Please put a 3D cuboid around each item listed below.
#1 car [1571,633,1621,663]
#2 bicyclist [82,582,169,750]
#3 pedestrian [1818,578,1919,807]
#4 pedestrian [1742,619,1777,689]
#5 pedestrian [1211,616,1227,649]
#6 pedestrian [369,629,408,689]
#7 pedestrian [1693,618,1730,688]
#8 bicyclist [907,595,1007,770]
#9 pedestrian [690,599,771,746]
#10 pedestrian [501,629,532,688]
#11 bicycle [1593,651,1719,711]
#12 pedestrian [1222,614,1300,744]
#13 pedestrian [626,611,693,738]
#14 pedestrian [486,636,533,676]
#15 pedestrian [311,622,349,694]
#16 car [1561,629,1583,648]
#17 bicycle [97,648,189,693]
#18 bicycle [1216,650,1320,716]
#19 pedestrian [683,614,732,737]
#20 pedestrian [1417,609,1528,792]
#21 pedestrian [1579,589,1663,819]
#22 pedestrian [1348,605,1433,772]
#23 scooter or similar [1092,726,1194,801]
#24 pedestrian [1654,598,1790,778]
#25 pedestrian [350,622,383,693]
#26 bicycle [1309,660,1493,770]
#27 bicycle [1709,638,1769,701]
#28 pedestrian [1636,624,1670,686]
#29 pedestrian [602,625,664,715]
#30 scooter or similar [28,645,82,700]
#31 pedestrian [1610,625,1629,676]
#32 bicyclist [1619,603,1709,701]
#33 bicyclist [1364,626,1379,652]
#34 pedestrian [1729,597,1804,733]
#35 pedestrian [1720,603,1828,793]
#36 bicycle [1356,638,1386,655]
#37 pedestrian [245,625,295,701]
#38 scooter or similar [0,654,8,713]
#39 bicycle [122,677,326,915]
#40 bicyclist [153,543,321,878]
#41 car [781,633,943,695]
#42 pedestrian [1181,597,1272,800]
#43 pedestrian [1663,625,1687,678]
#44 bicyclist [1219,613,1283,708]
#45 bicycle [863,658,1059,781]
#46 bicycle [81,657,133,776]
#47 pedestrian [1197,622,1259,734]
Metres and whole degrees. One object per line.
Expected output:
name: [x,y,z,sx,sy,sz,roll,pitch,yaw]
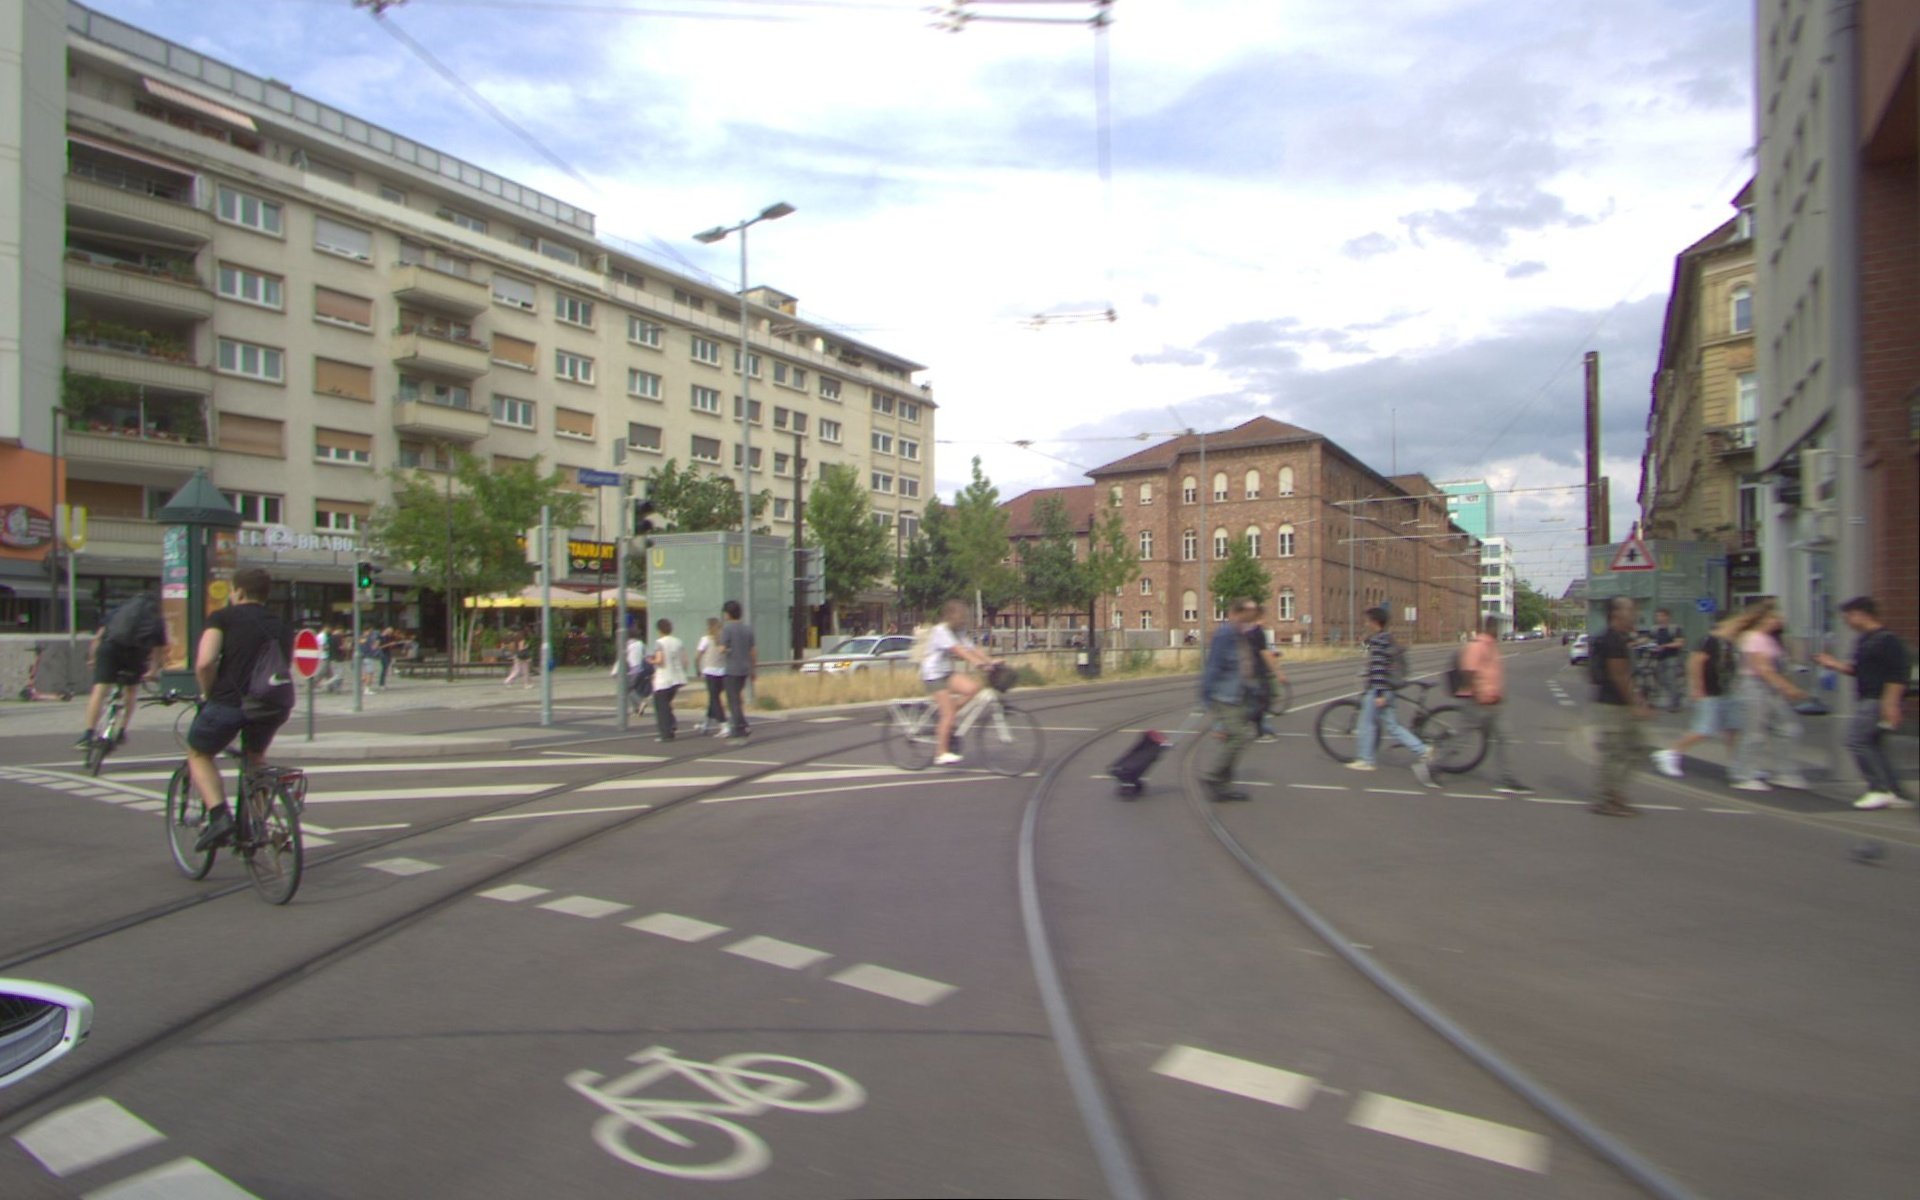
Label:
car: [28.971,2.150,45.637,1.812,1.282,4.132,-2,-2,33]
bicyclist: [-9.083,0.701,10.906,0.692,1.731,0.900,1,-2,-40]
pedestrian: [7.756,0.759,8.458,0.686,1.847,0.566,-1,-1,33]
pedestrian: [20.123,1.351,25.197,0.513,1.744,0.538,0,-2,-36]
pedestrian: [16.273,2.065,62.871,0.749,2.039,0.904,-1,-1,30]
pedestrian: [-15.522,1.585,27.215,0.409,1.596,0.816,-1,-2,35]
pedestrian: [19.147,1.346,25.525,0.513,1.744,0.588,0,-2,-36]
bicyclist: [-0.027,0.839,10.416,0.848,1.731,0.641,-1,-1,25]
pedestrian: [-3.054,0.940,13.328,0.865,1.878,0.637,-1,-1,34]
pedestrian: [-12.585,1.647,28.440,0.434,1.662,0.675,-1,-2,34]
bicycle: [11.577,1.340,16.668,1.772,0.962,0.543,0,-1,-5]
pedestrian: [4.014,1.037,13.382,0.709,1.668,0.705,1,-2,-19]
pedestrian: [-4.150,1.019,13.823,0.784,1.707,0.468,-2,-2,29]
pedestrian: [-14.527,1.819,32.312,0.923,1.260,1.028,-2,-4,36]
pedestrian: [-15.781,1.448,25.104,0.409,1.759,0.697,-1,-2,34]
car: [68.915,4.339,112.789,1.932,1.926,3.980,-2,-5,34]
bicycle: [-20.102,1.717,24.711,0.534,1.026,2.449,-1,-2,-7]
bicycle: [5.389,1.430,17.506,1.887,1.101,0.390,0,-1,-21]
pedestrian: [-3.647,1.067,14.434,0.624,1.717,0.705,0,-1,-19]
pedestrian: [4.927,0.933,9.631,0.880,1.672,0.539,-1,-1,34]
pedestrian: [5.505,0.839,8.349,0.553,1.820,0.540,-1,-1,34]
pedestrian: [4.577,0.922,10.650,0.716,1.707,0.518,-1,-2,35]
scooter or similar: [1.640,1.444,8.949,0.802,0.581,0.507,-2,-2,23]
pedestrian: [7.750,0.871,10.231,1.042,1.736,0.645,-1,-1,34]
pedestrian: [-14.975,1.453,25.263,0.409,1.759,0.592,-1,-2,34]
bicycle: [4.836,1.232,11.056,1.806,1.124,0.395,-2,-2,35]
bicycle: [15.990,1.398,20.586,0.534,1.219,1.802,-1,-2,24]
pedestrian: [18.952,1.490,27.389,0.708,1.648,0.787,-1,-2,38]
pedestrian: [-5.704,1.220,17.457,0.832,1.519,0.552,-3,-2,18]
scooter or similar: [-20.216,1.617,22.362,1.104,1.228,0.286,-1,-1,11]
pedestrian: [22.484,1.721,34.140,0.508,1.706,0.422,-1,-1,35]
bicyclist: [11.638,0.846,16.576,0.928,1.578,0.746,0,-1,-5]
bicyclist: [28.965,2.750,70.481,0.849,1.845,0.500,-1,-1,34]
pedestrian: [11.093,0.884,13.800,0.697,1.806,0.734,-2,-2,35]
pedestrian: [7.697,0.911,9.503,0.642,1.709,0.645,-4,-3,34]
bicycle: [28.953,3.259,70.542,1.947,1.180,0.419,-2,-2,34]
pedestrian: [-15.966,1.441,23.165,0.618,1.702,0.801,-1,-1,35]
scooter or similar: [-18.807,1.613,19.265,0.695,1.125,0.603,0,-1,-44]
bicycle: [-4.314,1.044,5.806,1.992,1.136,0.404,-1,-2,37]
bicyclist: [-4.093,0.589,5.668,0.852,1.731,0.556,-2,-2,38]
car: [-2.585,1.699,27.527,1.973,1.531,4.577,-2,-2,34]
pedestrian: [2.362,0.844,8.862,0.592,1.709,0.637,-1,-1,34]
pedestrian: [23.425,1.675,32.812,0.507,1.706,0.423,0,-1,-23]
bicyclist: [5.096,1.048,17.570,0.848,1.623,0.641,0,-1,-20]
bicycle: [-0.010,1.199,10.365,2.042,1.136,0.390,0,-1,24]
bicycle: [-9.213,1.209,10.814,0.387,1.136,1.903,1,-2,-41]
pedestrian: [3.758,1.083,14.048,0.619,1.530,0.592,1,-1,-19]
